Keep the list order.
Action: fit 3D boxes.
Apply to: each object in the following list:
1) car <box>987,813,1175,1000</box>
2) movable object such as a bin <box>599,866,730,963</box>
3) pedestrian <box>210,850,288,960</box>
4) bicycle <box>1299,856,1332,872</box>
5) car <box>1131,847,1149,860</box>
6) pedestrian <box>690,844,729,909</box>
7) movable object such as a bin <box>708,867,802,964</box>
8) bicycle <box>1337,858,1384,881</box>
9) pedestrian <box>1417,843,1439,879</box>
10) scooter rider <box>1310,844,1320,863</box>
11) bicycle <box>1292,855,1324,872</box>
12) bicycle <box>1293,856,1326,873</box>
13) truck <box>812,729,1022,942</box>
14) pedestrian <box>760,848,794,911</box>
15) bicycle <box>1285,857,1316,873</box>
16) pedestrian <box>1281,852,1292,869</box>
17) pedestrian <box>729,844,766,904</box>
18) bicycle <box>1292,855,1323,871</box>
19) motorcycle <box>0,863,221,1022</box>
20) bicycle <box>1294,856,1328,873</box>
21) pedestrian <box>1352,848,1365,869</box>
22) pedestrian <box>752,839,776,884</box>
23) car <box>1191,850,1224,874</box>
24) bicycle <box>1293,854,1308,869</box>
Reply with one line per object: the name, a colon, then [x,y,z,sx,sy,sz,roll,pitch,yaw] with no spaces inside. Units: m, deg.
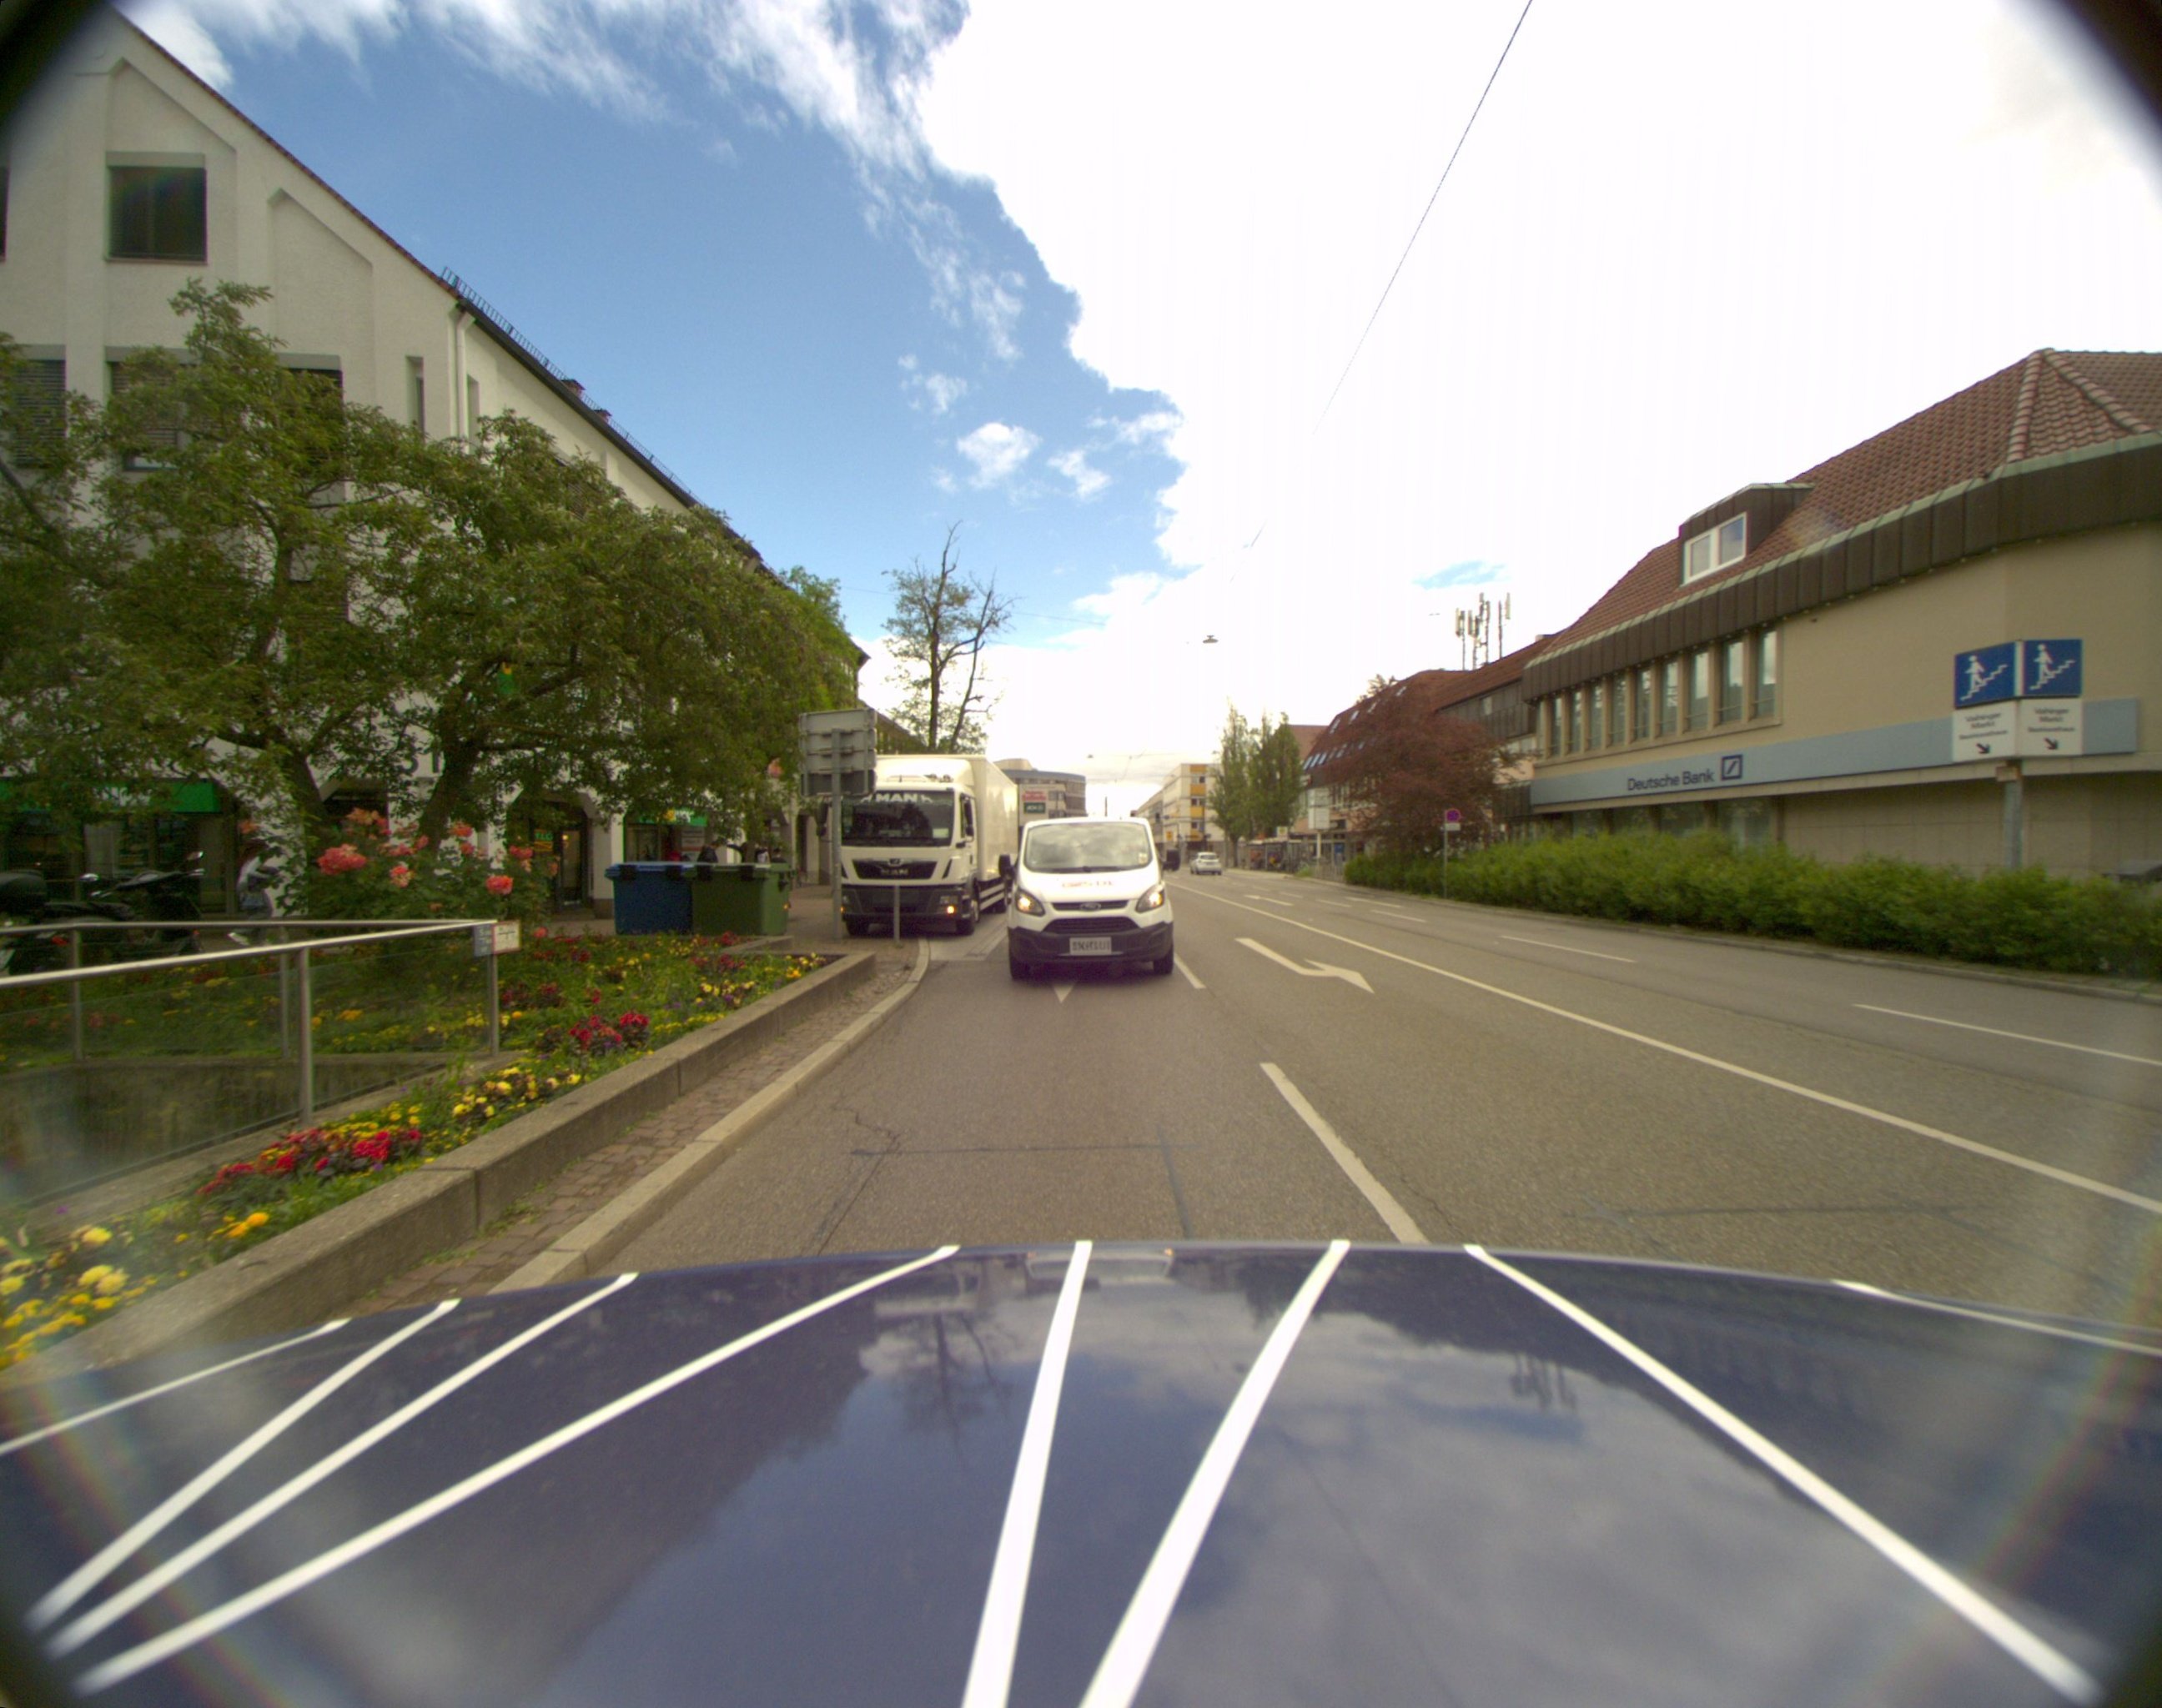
car: [0.141,0.564,10.724,1.998,2.002,5.000,-1,0,3]
movable object such as a bin: [-6.169,0.856,11.360,1.146,1.331,1.376,0,1,2]
pedestrian: [-12.388,0.738,11.326,0.619,1.593,0.513,0,1,10]
bicycle: [15.505,0.658,50.293,2.024,1.084,0.648,0,1,-9]
car: [8.144,-0.125,105.178,2.074,1.728,4.693,2,0,1]
pedestrian: [-9.345,0.556,19.128,0.574,1.593,0.746,0,1,1]
movable object such as a bin: [-4.745,0.866,11.142,0.883,1.331,1.085,0,1,2]
bicycle: [13.209,0.733,35.946,2.024,1.084,0.648,0,1,-9]
pedestrian: [17.601,0.353,38.554,0.727,1.754,0.755,-4,0,4]
scooter rider: [21.738,-0.042,70.613,0.614,1.702,0.588,-3,1,-3]
bicycle: [15.601,0.649,52.195,2.024,1.084,0.648,0,1,-9]
bicycle: [15.326,0.685,50.988,2.024,1.084,0.648,0,1,-9]
truck: [-3.119,-0.329,17.606,2.695,3.540,9.765,0,0,0]
pedestrian: [-7.873,0.644,19.660,0.747,1.593,0.573,-1,1,-28]
bicycle: [15.363,0.772,53.252,2.024,1.084,0.649,0,1,-4]
pedestrian: [16.298,0.533,60.384,0.713,1.356,0.588,-1,0,2]
pedestrian: [-9.045,0.536,20.611,0.745,1.593,0.574,0,1,-3]
bicycle: [16.163,0.650,54.175,2.025,1.084,0.648,-1,1,-14]
motorcycle: [-10.365,0.831,7.865,0.722,1.430,1.945,0,0,-2]
bicycle: [14.942,0.685,49.404,2.024,1.084,0.648,0,1,-9]
pedestrian: [20.810,0.319,57.028,0.713,1.538,0.588,-1,0,-1]
pedestrian: [-11.590,0.263,27.744,0.747,1.593,0.573,-1,1,-28]
car: [8.824,0.523,53.434,1.644,1.559,3.926,2,0,0]
bicycle: [17.121,0.589,59.213,0.535,1.084,1.930,-1,1,-2]
